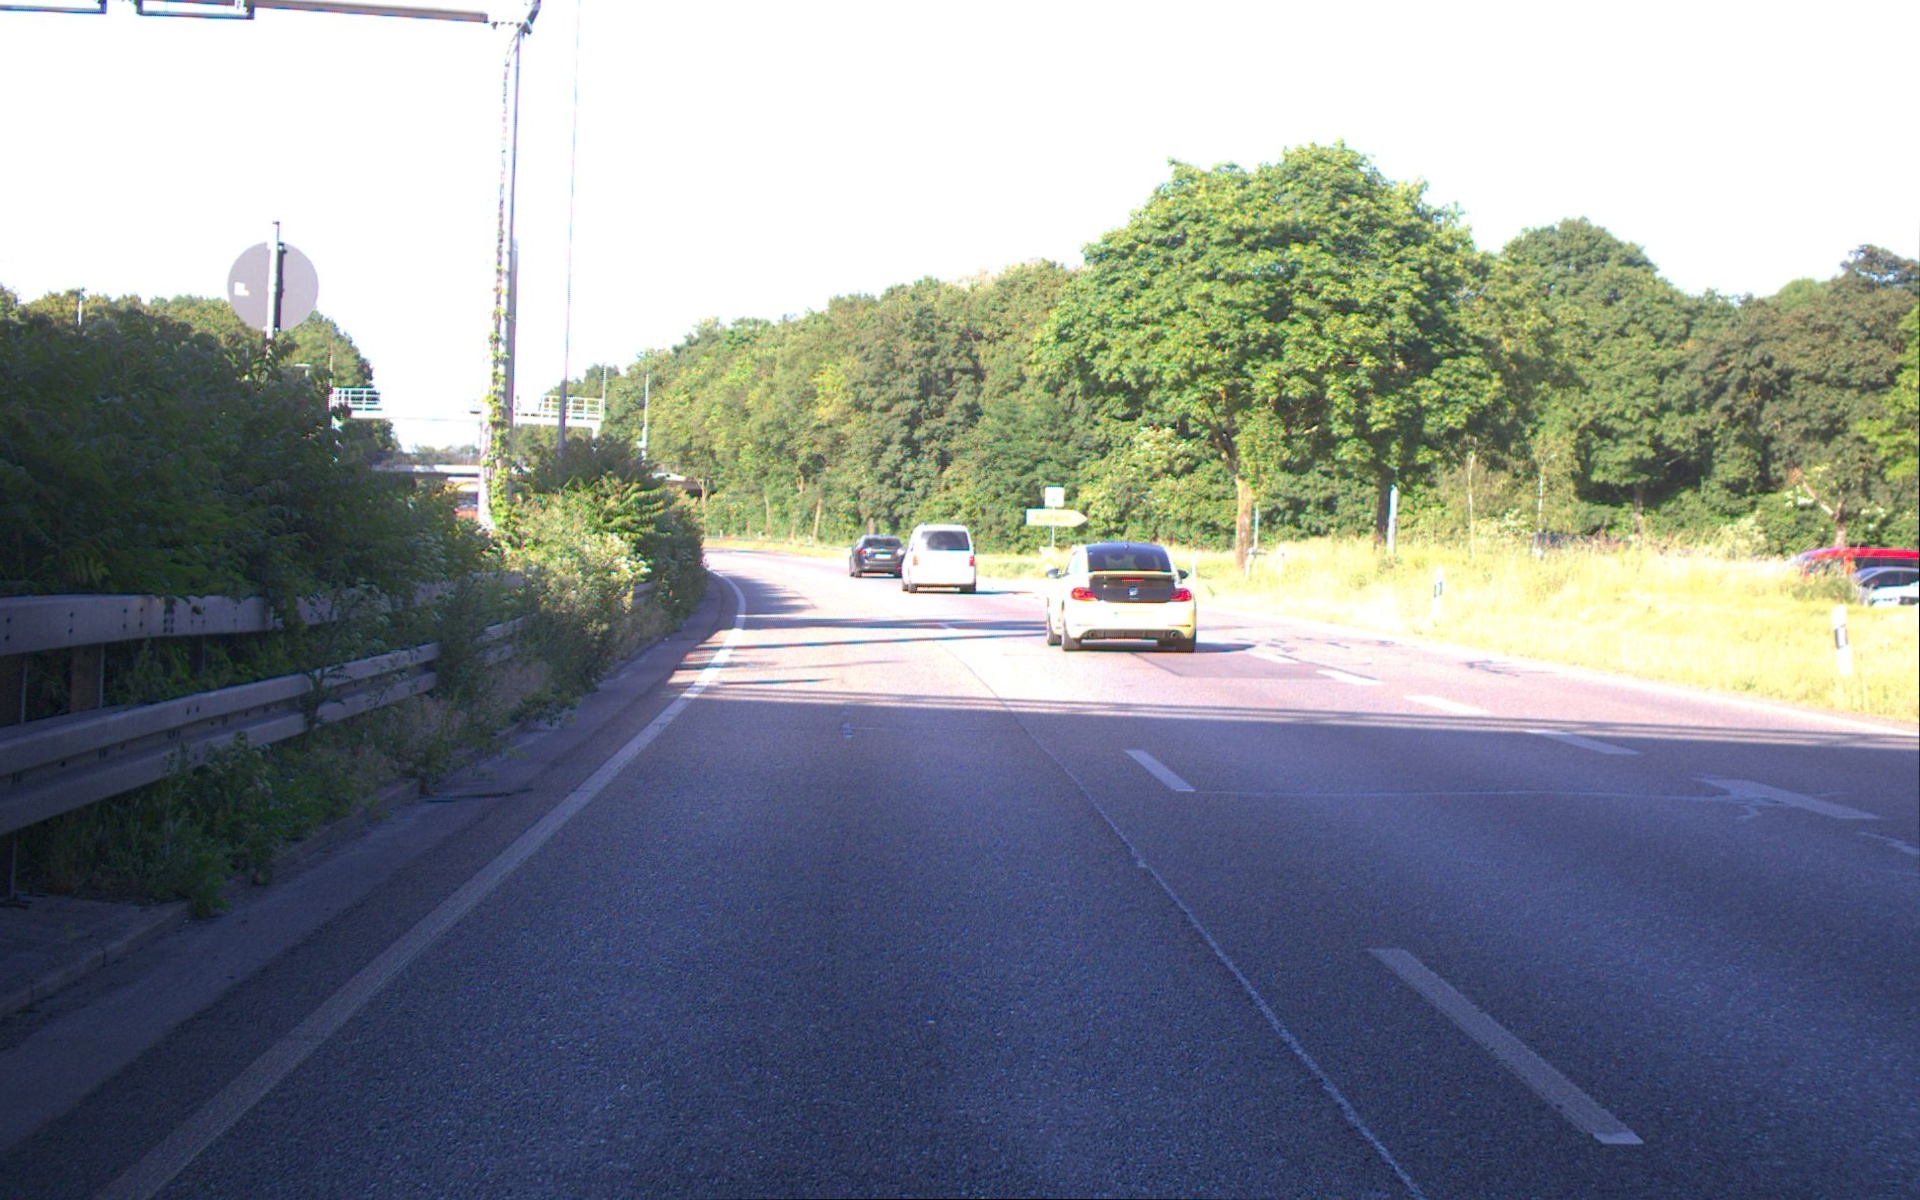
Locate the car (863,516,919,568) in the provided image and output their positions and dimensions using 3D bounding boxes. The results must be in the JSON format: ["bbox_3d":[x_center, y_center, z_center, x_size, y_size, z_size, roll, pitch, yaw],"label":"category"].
[{"bbox_3d":[-2.372,-2.008,118.846,1.897,1.761,4.000,1,1,-1],"label":"car"}]

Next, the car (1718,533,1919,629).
[{"bbox_3d":[20.280,-0.424,79.785,4.788,2.016,2.027,2,-2,-7],"label":"car"}]

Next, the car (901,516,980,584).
[{"bbox_3d":[-0.525,-1.308,90.402,1.897,1.761,4.001,0,1,-3],"label":"car"}]

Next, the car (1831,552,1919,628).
[{"bbox_3d":[20.398,-0.166,71.591,3.930,1.455,1.924,2,-2,-7],"label":"car"}]

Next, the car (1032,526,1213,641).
[{"bbox_3d":[2.179,-0.262,47.247,1.897,1.466,4.001,1,2,-6],"label":"car"}]

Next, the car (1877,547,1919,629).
[{"bbox_3d":[20.735,-0.181,68.874,4.109,1.554,1.924,2,-2,-7],"label":"car"}]
